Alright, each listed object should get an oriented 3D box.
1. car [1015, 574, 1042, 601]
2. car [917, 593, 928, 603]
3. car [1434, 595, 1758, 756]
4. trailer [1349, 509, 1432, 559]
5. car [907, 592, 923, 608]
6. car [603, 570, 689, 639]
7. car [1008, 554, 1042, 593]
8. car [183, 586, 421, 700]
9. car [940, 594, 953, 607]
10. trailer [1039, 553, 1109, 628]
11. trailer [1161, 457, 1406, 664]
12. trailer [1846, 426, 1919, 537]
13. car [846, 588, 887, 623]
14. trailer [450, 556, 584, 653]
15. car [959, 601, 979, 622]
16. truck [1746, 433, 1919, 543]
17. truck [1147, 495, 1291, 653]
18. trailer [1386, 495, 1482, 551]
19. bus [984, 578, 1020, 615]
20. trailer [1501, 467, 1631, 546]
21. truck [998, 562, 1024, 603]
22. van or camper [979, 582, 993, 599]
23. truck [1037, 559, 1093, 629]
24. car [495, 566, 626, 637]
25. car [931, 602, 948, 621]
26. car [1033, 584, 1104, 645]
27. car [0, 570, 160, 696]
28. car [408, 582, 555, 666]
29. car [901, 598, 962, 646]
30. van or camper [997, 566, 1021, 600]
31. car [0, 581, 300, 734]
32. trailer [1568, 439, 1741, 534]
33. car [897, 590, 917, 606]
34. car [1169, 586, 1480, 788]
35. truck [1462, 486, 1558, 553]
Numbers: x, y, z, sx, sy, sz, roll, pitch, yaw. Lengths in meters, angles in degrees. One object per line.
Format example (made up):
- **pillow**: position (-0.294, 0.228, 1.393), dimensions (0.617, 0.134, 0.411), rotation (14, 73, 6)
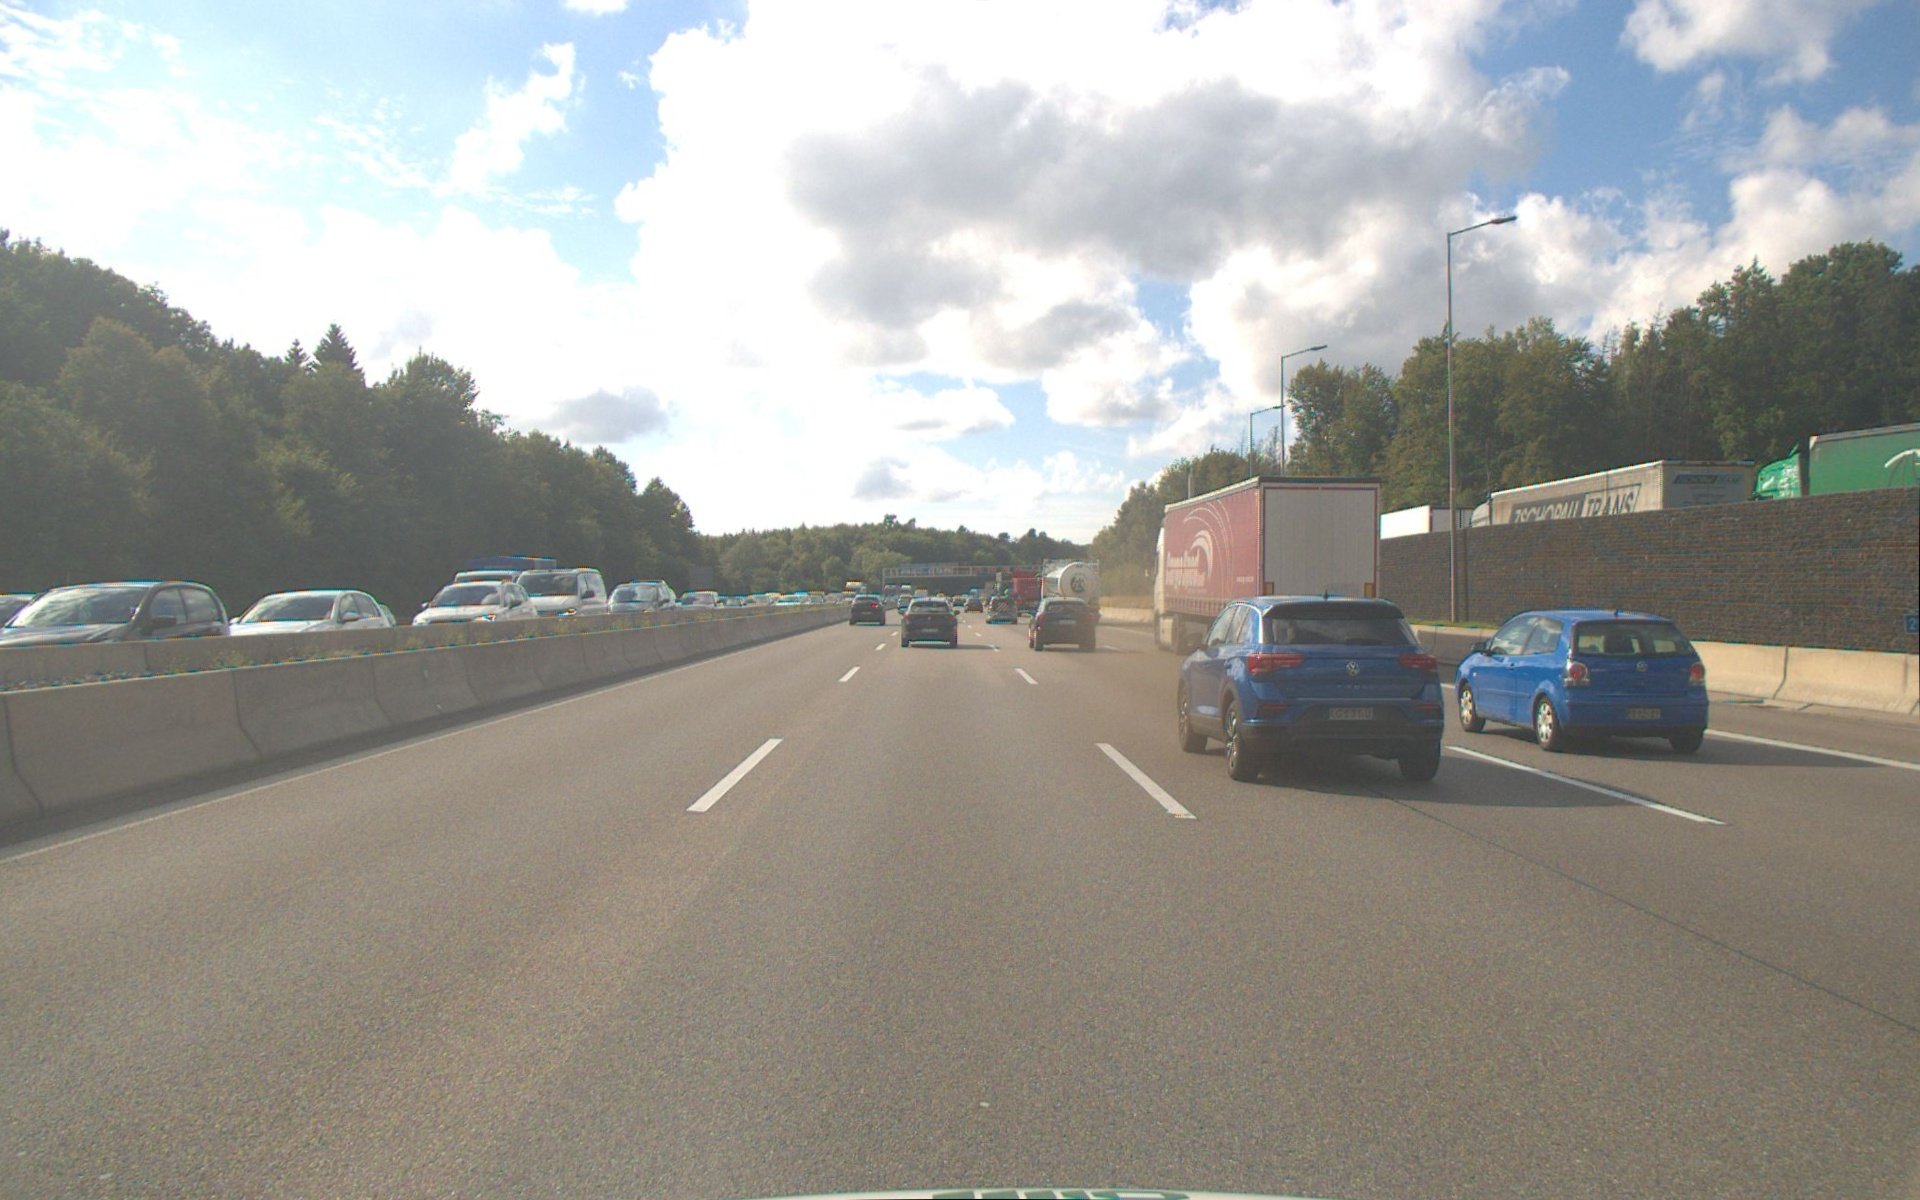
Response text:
- **car**: position (5.503, -0.977, 133.029), dimensions (1.953, 2.049, 3.998), rotation (1, -2, -1)
- **car**: position (-5.795, -0.307, 258.770), dimensions (1.590, 1.496, 3.814), rotation (2, -1, 0)
- **car**: position (6.793, 0.726, 18.198), dimensions (1.681, 1.537, 4.298), rotation (0, 0, -4)
- **trailer**: position (19.717, -2.971, 76.009), dimensions (2.087, 2.049, 6.233), rotation (-1, 0, -1)
- **car**: position (-5.921, 0.035, 218.605), dimensions (1.954, 2.049, 3.997), rotation (1, 0, -3)
- **car**: position (-9.997, 0.185, 52.955), dimensions (1.953, 2.049, 4.674), rotation (1, -2, -2)
- **car**: position (5.593, -2.252, 143.088), dimensions (2.807, 3.044, 5.148), rotation (1, -2, 0)
- **car**: position (-10.196, 0.617, 26.012), dimensions (1.953, 1.600, 4.357), rotation (1, 0, 0)
- **car**: position (-1.704, 0.091, 215.873), dimensions (1.641, 1.620, 3.628), rotation (-1, 0, 0)
- **trailer**: position (6.594, -0.421, 97.349), dimensions (2.974, 4.086, 12.240), rotation (0, -1, -1)
- **trailer**: position (7.314, -0.592, 39.992), dimensions (2.976, 4.106, 13.885), rotation (1, -2, -1)
- **trailer**: position (20.362, -2.489, 33.150), dimensions (1.953, 2.049, 5.773), rotation (1, -2, -2)
- **car**: position (-4.987, 0.263, 88.344), dimensions (1.953, 1.807, 4.000), rotation (-1, 0, 0)
- **trailer**: position (-14.101, 0.158, 53.260), dimensions (2.233, 2.834, 8.538), rotation (1, 0, -2)
- **car**: position (0.914, 1.132, 167.216), dimensions (1.953, 2.049, 3.999), rotation (1, -1, -1)
- **truck**: position (20.329, -2.515, 38.286), dimensions (2.003, 2.049, 4.780), rotation (1, -2, 0)
- **truck**: position (7.203, -0.600, 46.806), dimensions (3.018, 4.135, 6.067), rotation (1, -2, -1)
- **trailer**: position (19.849, -3.197, 69.577), dimensions (2.087, 2.049, 6.320), rotation (-1, 0, -1)
- **bus**: position (2.433, -0.189, 96.621), dimensions (1.953, 2.049, 3.999), rotation (1, -2, -1)
- **trailer**: position (19.854, -3.013, 54.528), dimensions (2.003, 2.049, 6.004), rotation (1, -2, -1)
- **truck**: position (4.967, -1.650, 162.558), dimensions (2.309, 3.635, 11.265), rotation (1, -2, 0)
- **van or camper**: position (3.963, -1.433, 250.788), dimensions (2.041, 2.536, 4.224), rotation (0, 0, -1)
- **truck**: position (6.527, -0.321, 103.556), dimensions (2.983, 4.233, 7.125), rotation (0, -1, -1)
- **car**: position (-10.073, 0.036, 42.135), dimensions (1.953, 1.600, 5.329), rotation (2, 0, 0)
- **car**: position (-2.356, 1.345, 193.228), dimensions (1.953, 2.049, 3.998), rotation (-1, -2, -1)
- **car**: position (3.136, 0.448, 48.378), dimensions (1.762, 1.673, 3.999), rotation (1, -1, -1)
- **car**: position (-13.174, 0.394, 22.993), dimensions (1.953, 1.600, 4.357), rotation (1, 0, 0)
- **car**: position (-9.810, 0.456, 34.271), dimensions (1.729, 1.600, 4.357), rotation (1, 0, 0)
- **car**: position (-0.903, 0.684, 50.743), dimensions (1.699, 1.389, 3.997), rotation (1, -1, -3)
- **van or camper**: position (4.990, -1.691, 168.743), dimensions (2.303, 3.199, 5.710), rotation (1, -2, 0)
- **car**: position (-9.471, 0.612, 19.477), dimensions (1.953, 1.600, 3.511), rotation (1, 0, 0)
- **trailer**: position (19.981, -3.204, 48.039), dimensions (2.009, 2.049, 6.961), rotation (1, -2, -1)
- **car**: position (-6.112, -0.235, 190.958), dimensions (2.111, 1.807, 3.999), rotation (1, -1, -1)
- **car**: position (3.189, 0.693, 15.451), dimensions (1.884, 1.568, 4.645), rotation (1, 0, 0)
- **truck**: position (19.743, -2.867, 59.541), dimensions (2.003, 2.049, 4.094), rotation (1, -2, -1)
